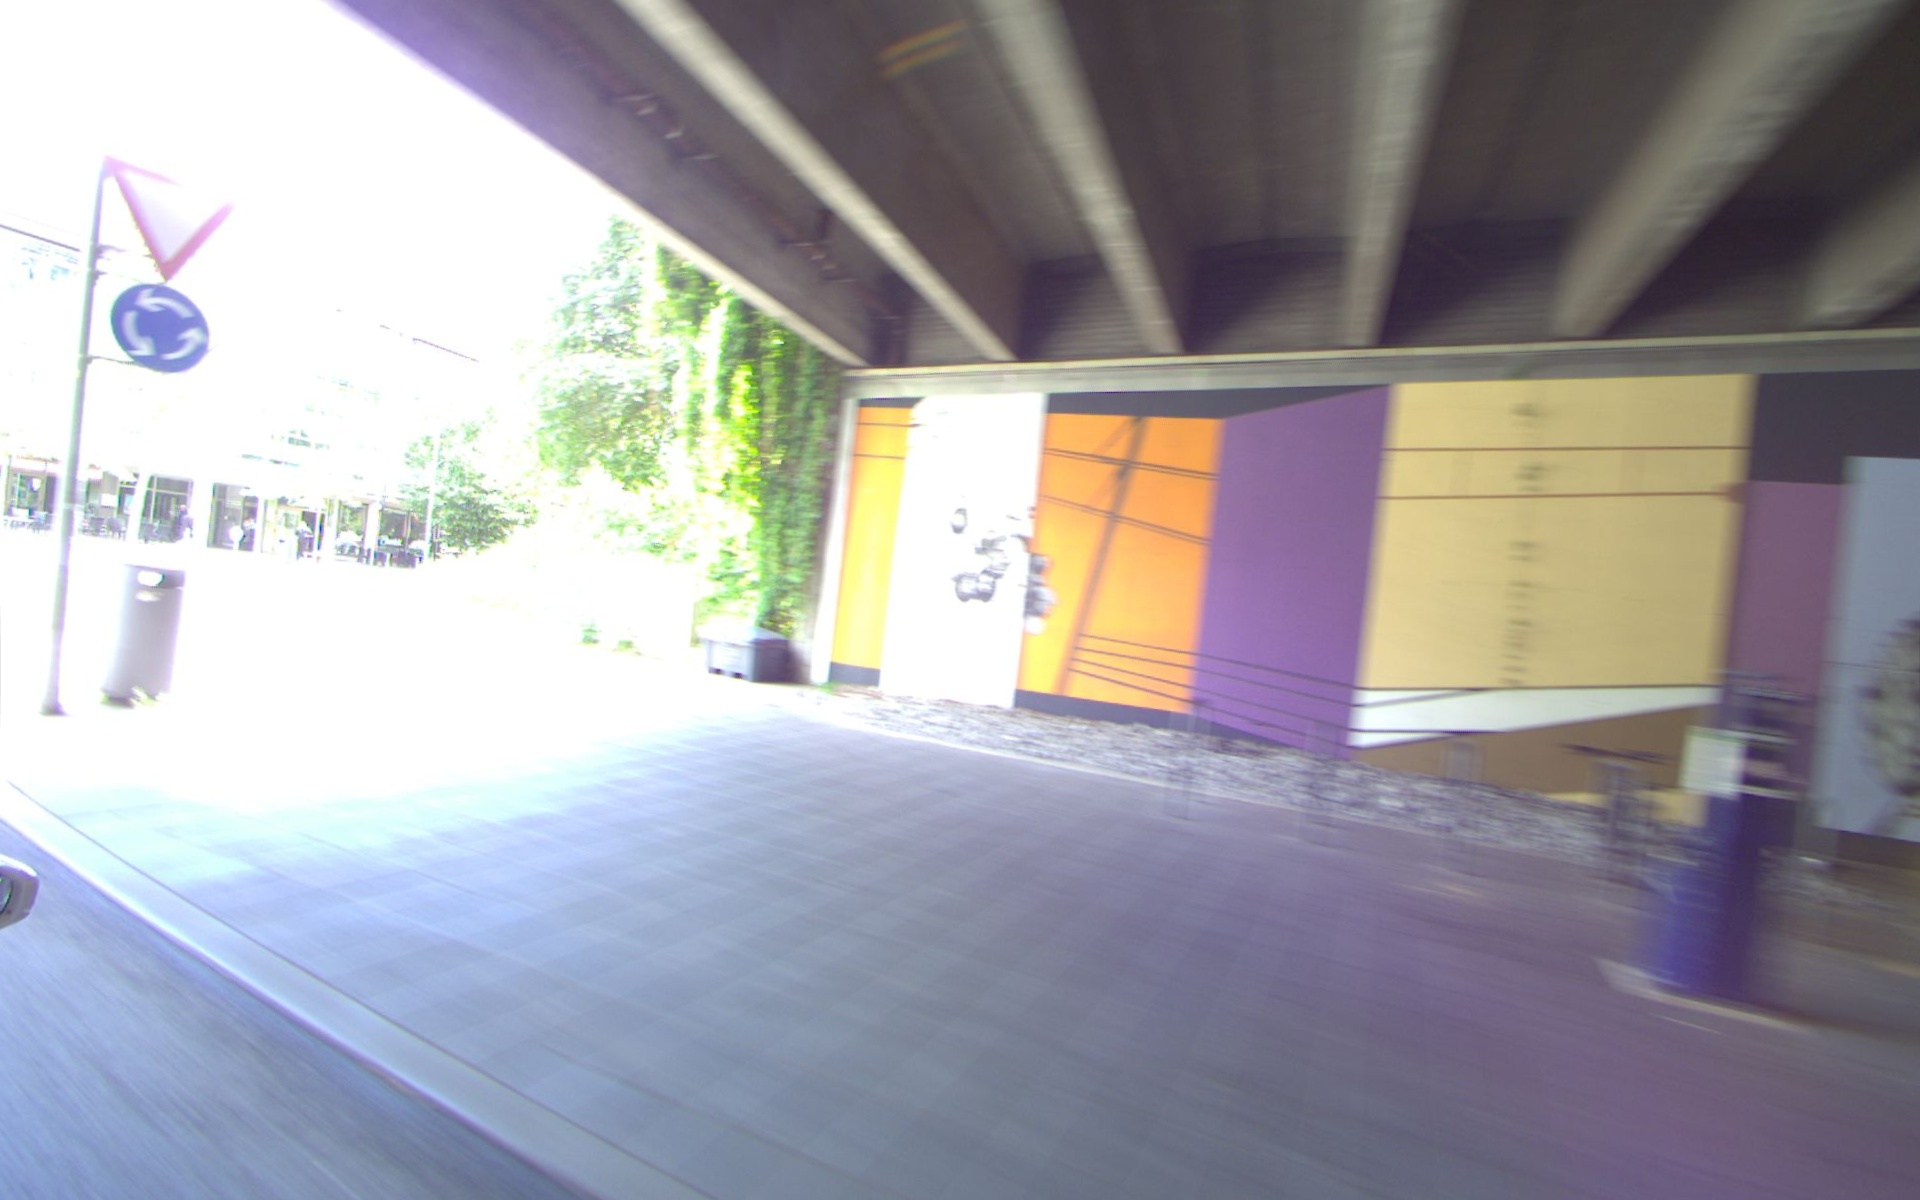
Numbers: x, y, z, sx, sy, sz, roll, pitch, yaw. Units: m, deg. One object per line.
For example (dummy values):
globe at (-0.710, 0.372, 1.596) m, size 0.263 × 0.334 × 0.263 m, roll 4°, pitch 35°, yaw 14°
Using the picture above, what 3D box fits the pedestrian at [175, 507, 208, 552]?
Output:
pedestrian at (-31.121, -2.860, 40.753) m, size 0.606 × 1.694 × 0.698 m, roll 7°, pitch 0°, yaw 3°

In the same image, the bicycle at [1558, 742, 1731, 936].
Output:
bicycle at (4.671, 1.568, 6.995) m, size 0.497 × 0.916 × 1.950 m, roll 7°, pitch 0°, yaw 22°

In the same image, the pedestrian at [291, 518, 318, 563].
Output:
pedestrian at (-28.157, -2.534, 43.228) m, size 0.685 × 1.844 × 0.616 m, roll 7°, pitch 4°, yaw 21°

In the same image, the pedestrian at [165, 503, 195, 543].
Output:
pedestrian at (-35.854, -3.537, 46.267) m, size 0.606 × 1.694 × 0.698 m, roll 7°, pitch 0°, yaw 15°

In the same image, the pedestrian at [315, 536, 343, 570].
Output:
pedestrian at (-26.340, -1.959, 42.006) m, size 0.686 × 1.300 × 0.617 m, roll 7°, pitch 0°, yaw 28°

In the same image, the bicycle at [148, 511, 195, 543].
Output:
bicycle at (-35.843, -3.307, 45.750) m, size 1.527 × 1.181 × 0.492 m, roll 8°, pitch -2°, yaw -31°
